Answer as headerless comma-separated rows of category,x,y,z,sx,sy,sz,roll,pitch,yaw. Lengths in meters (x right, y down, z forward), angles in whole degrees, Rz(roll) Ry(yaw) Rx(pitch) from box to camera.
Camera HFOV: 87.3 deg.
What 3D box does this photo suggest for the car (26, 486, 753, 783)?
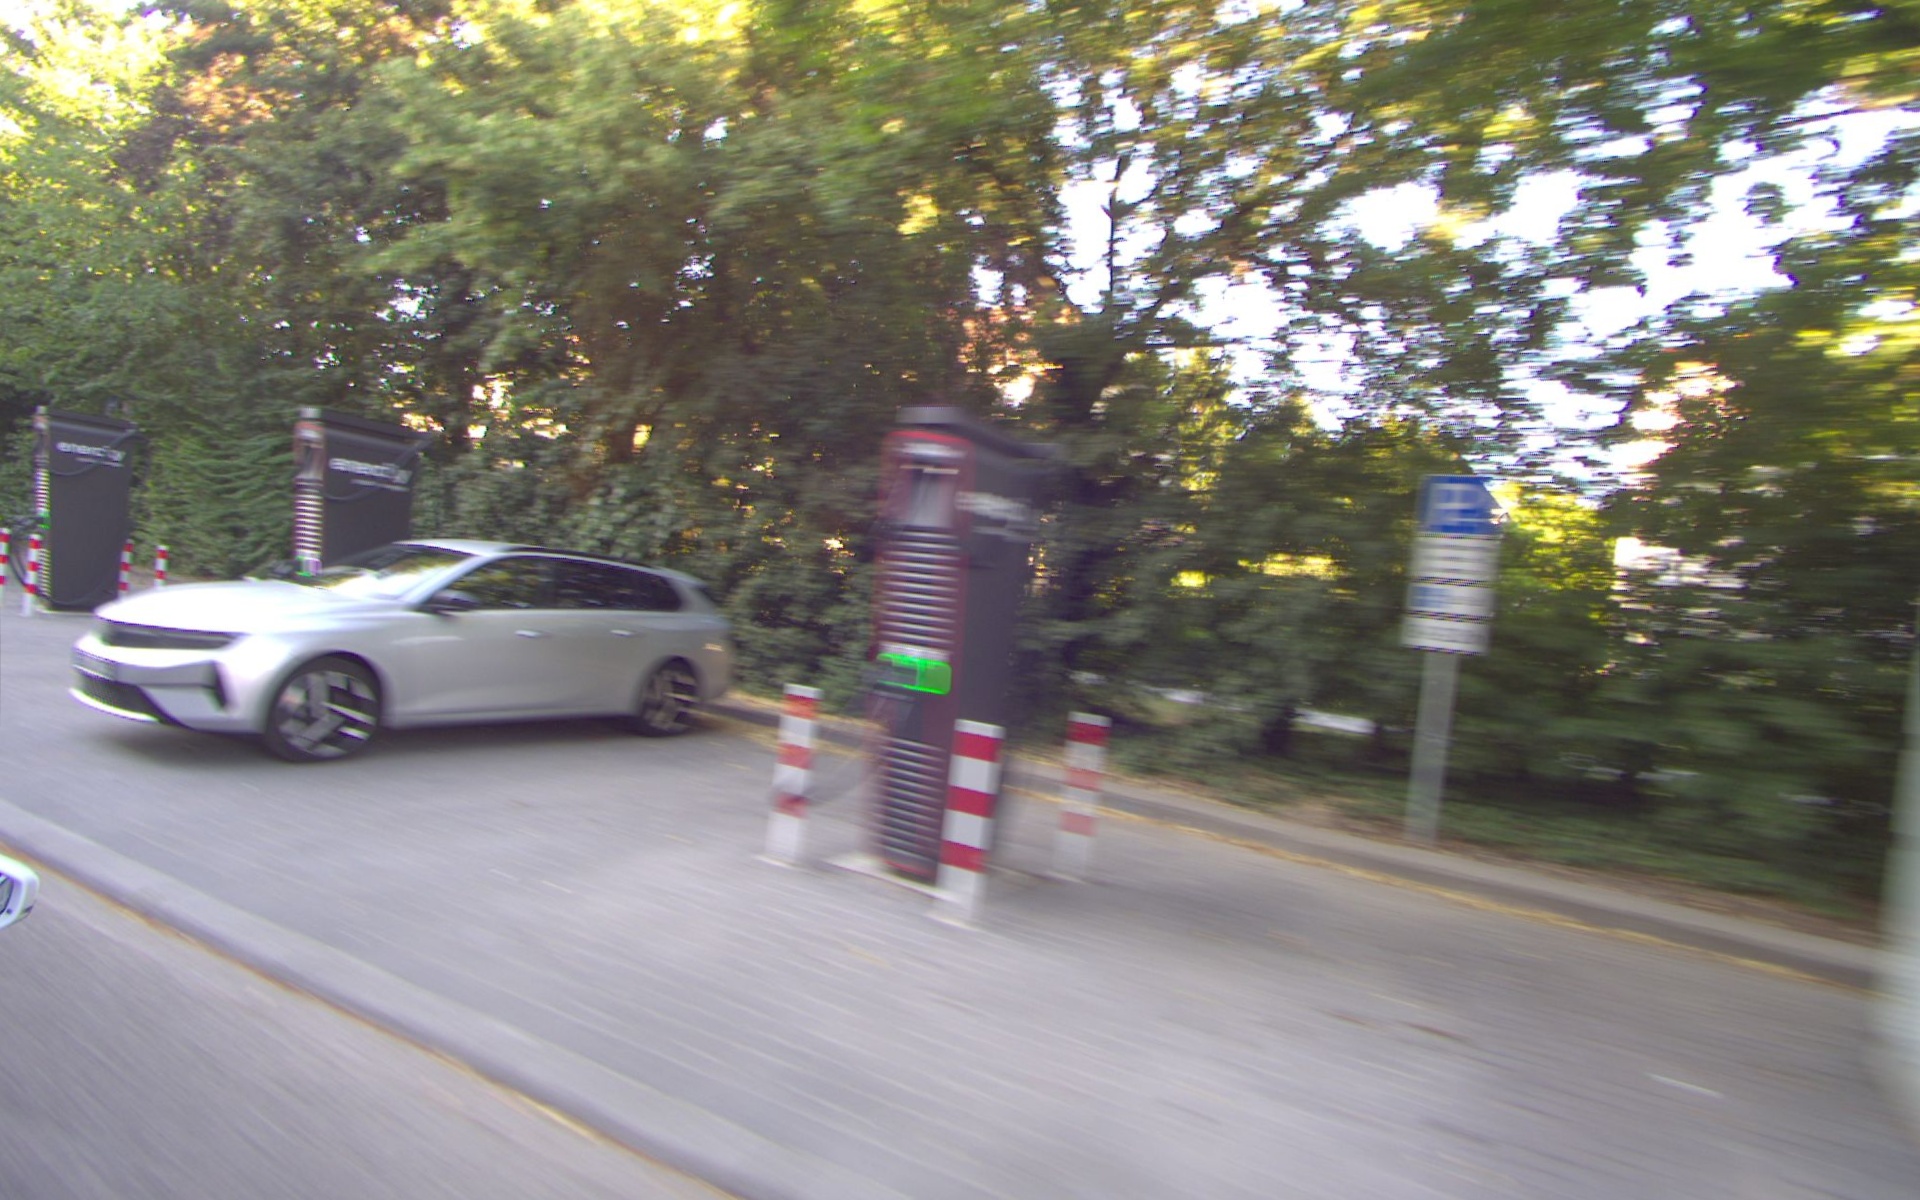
car,-3.821,0.240,7.639,1.752,1.488,4.444,7,1,31
